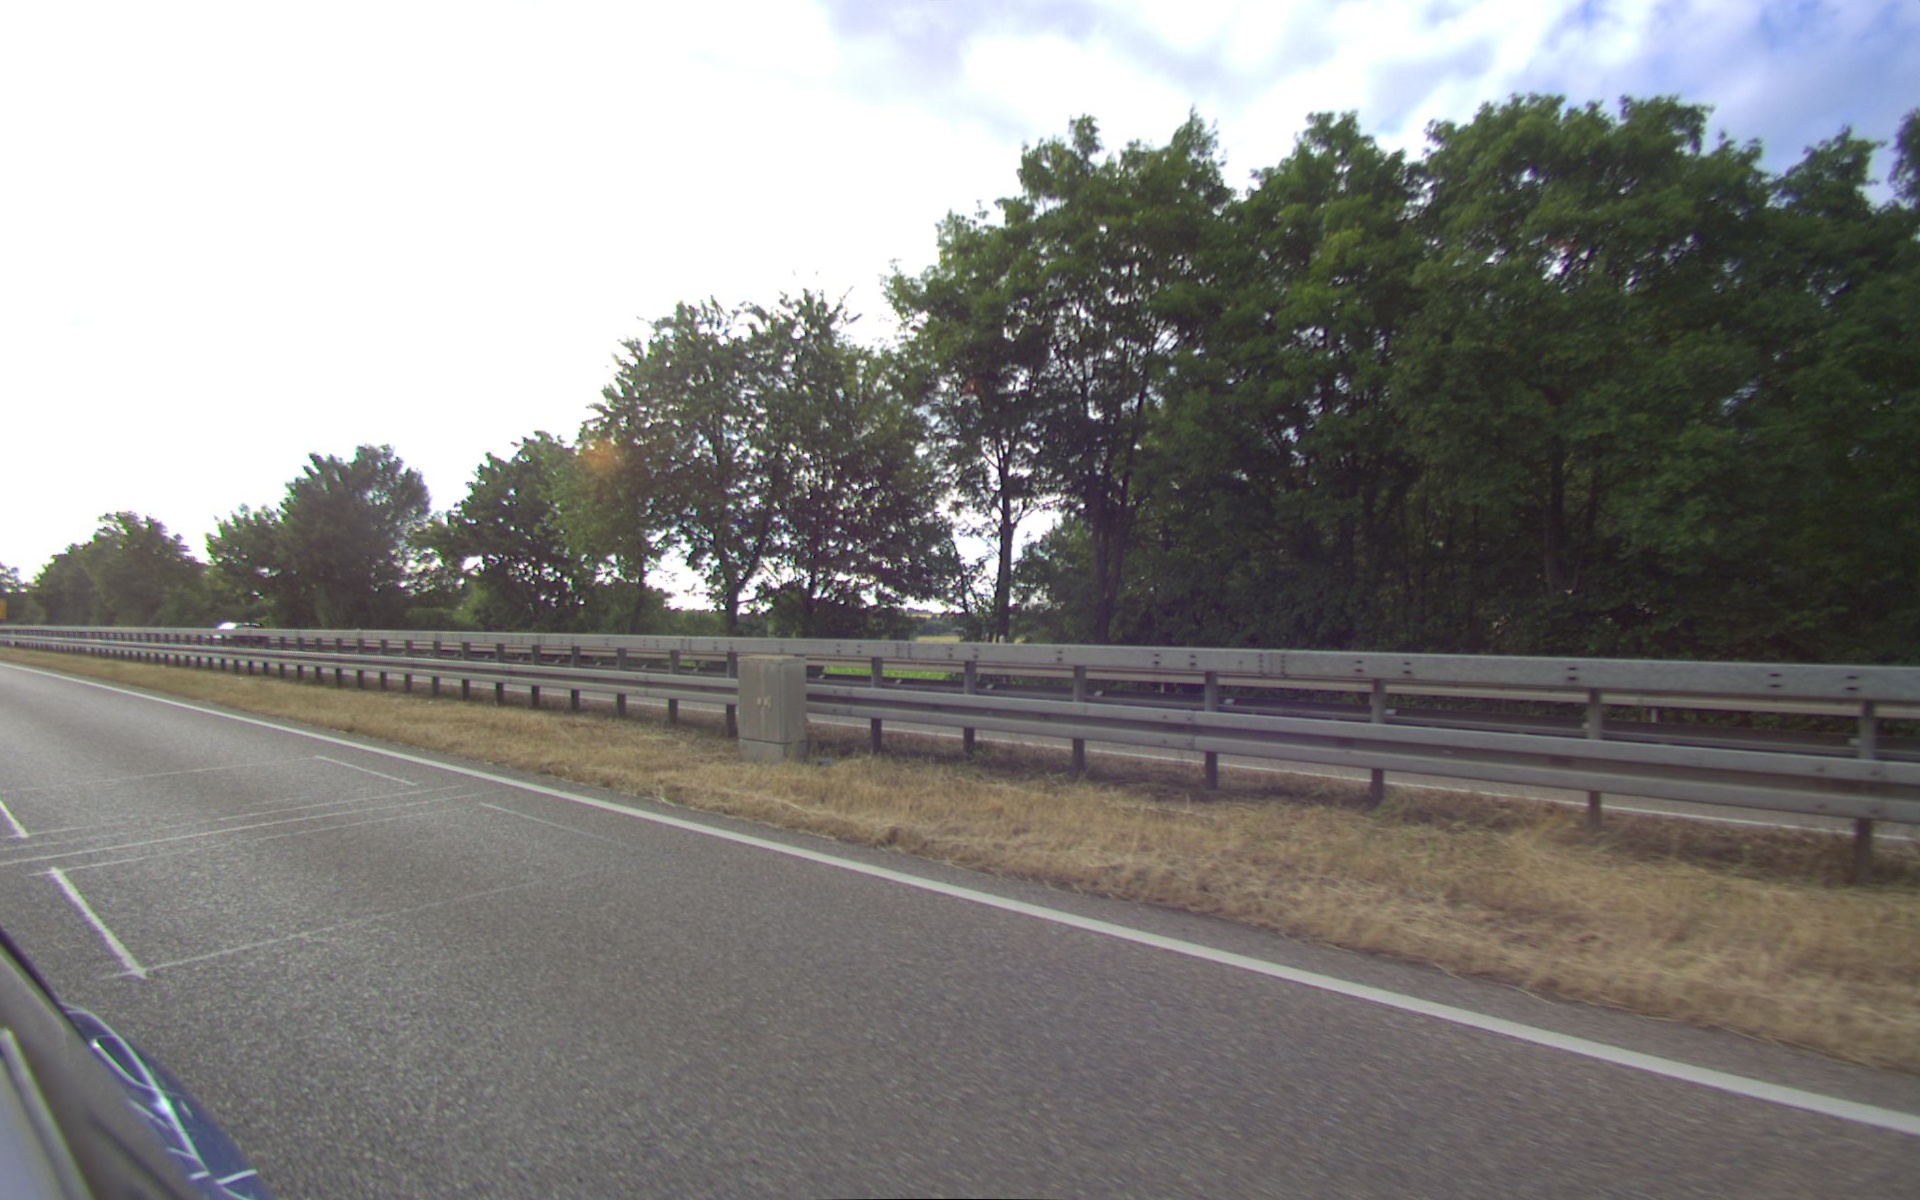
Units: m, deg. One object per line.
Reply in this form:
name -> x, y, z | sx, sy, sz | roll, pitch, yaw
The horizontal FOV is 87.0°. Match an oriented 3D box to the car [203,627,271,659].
car -> -36.621, 2.161, 51.223 | 4.585, 1.556, 1.805 | -1, -3, 41
